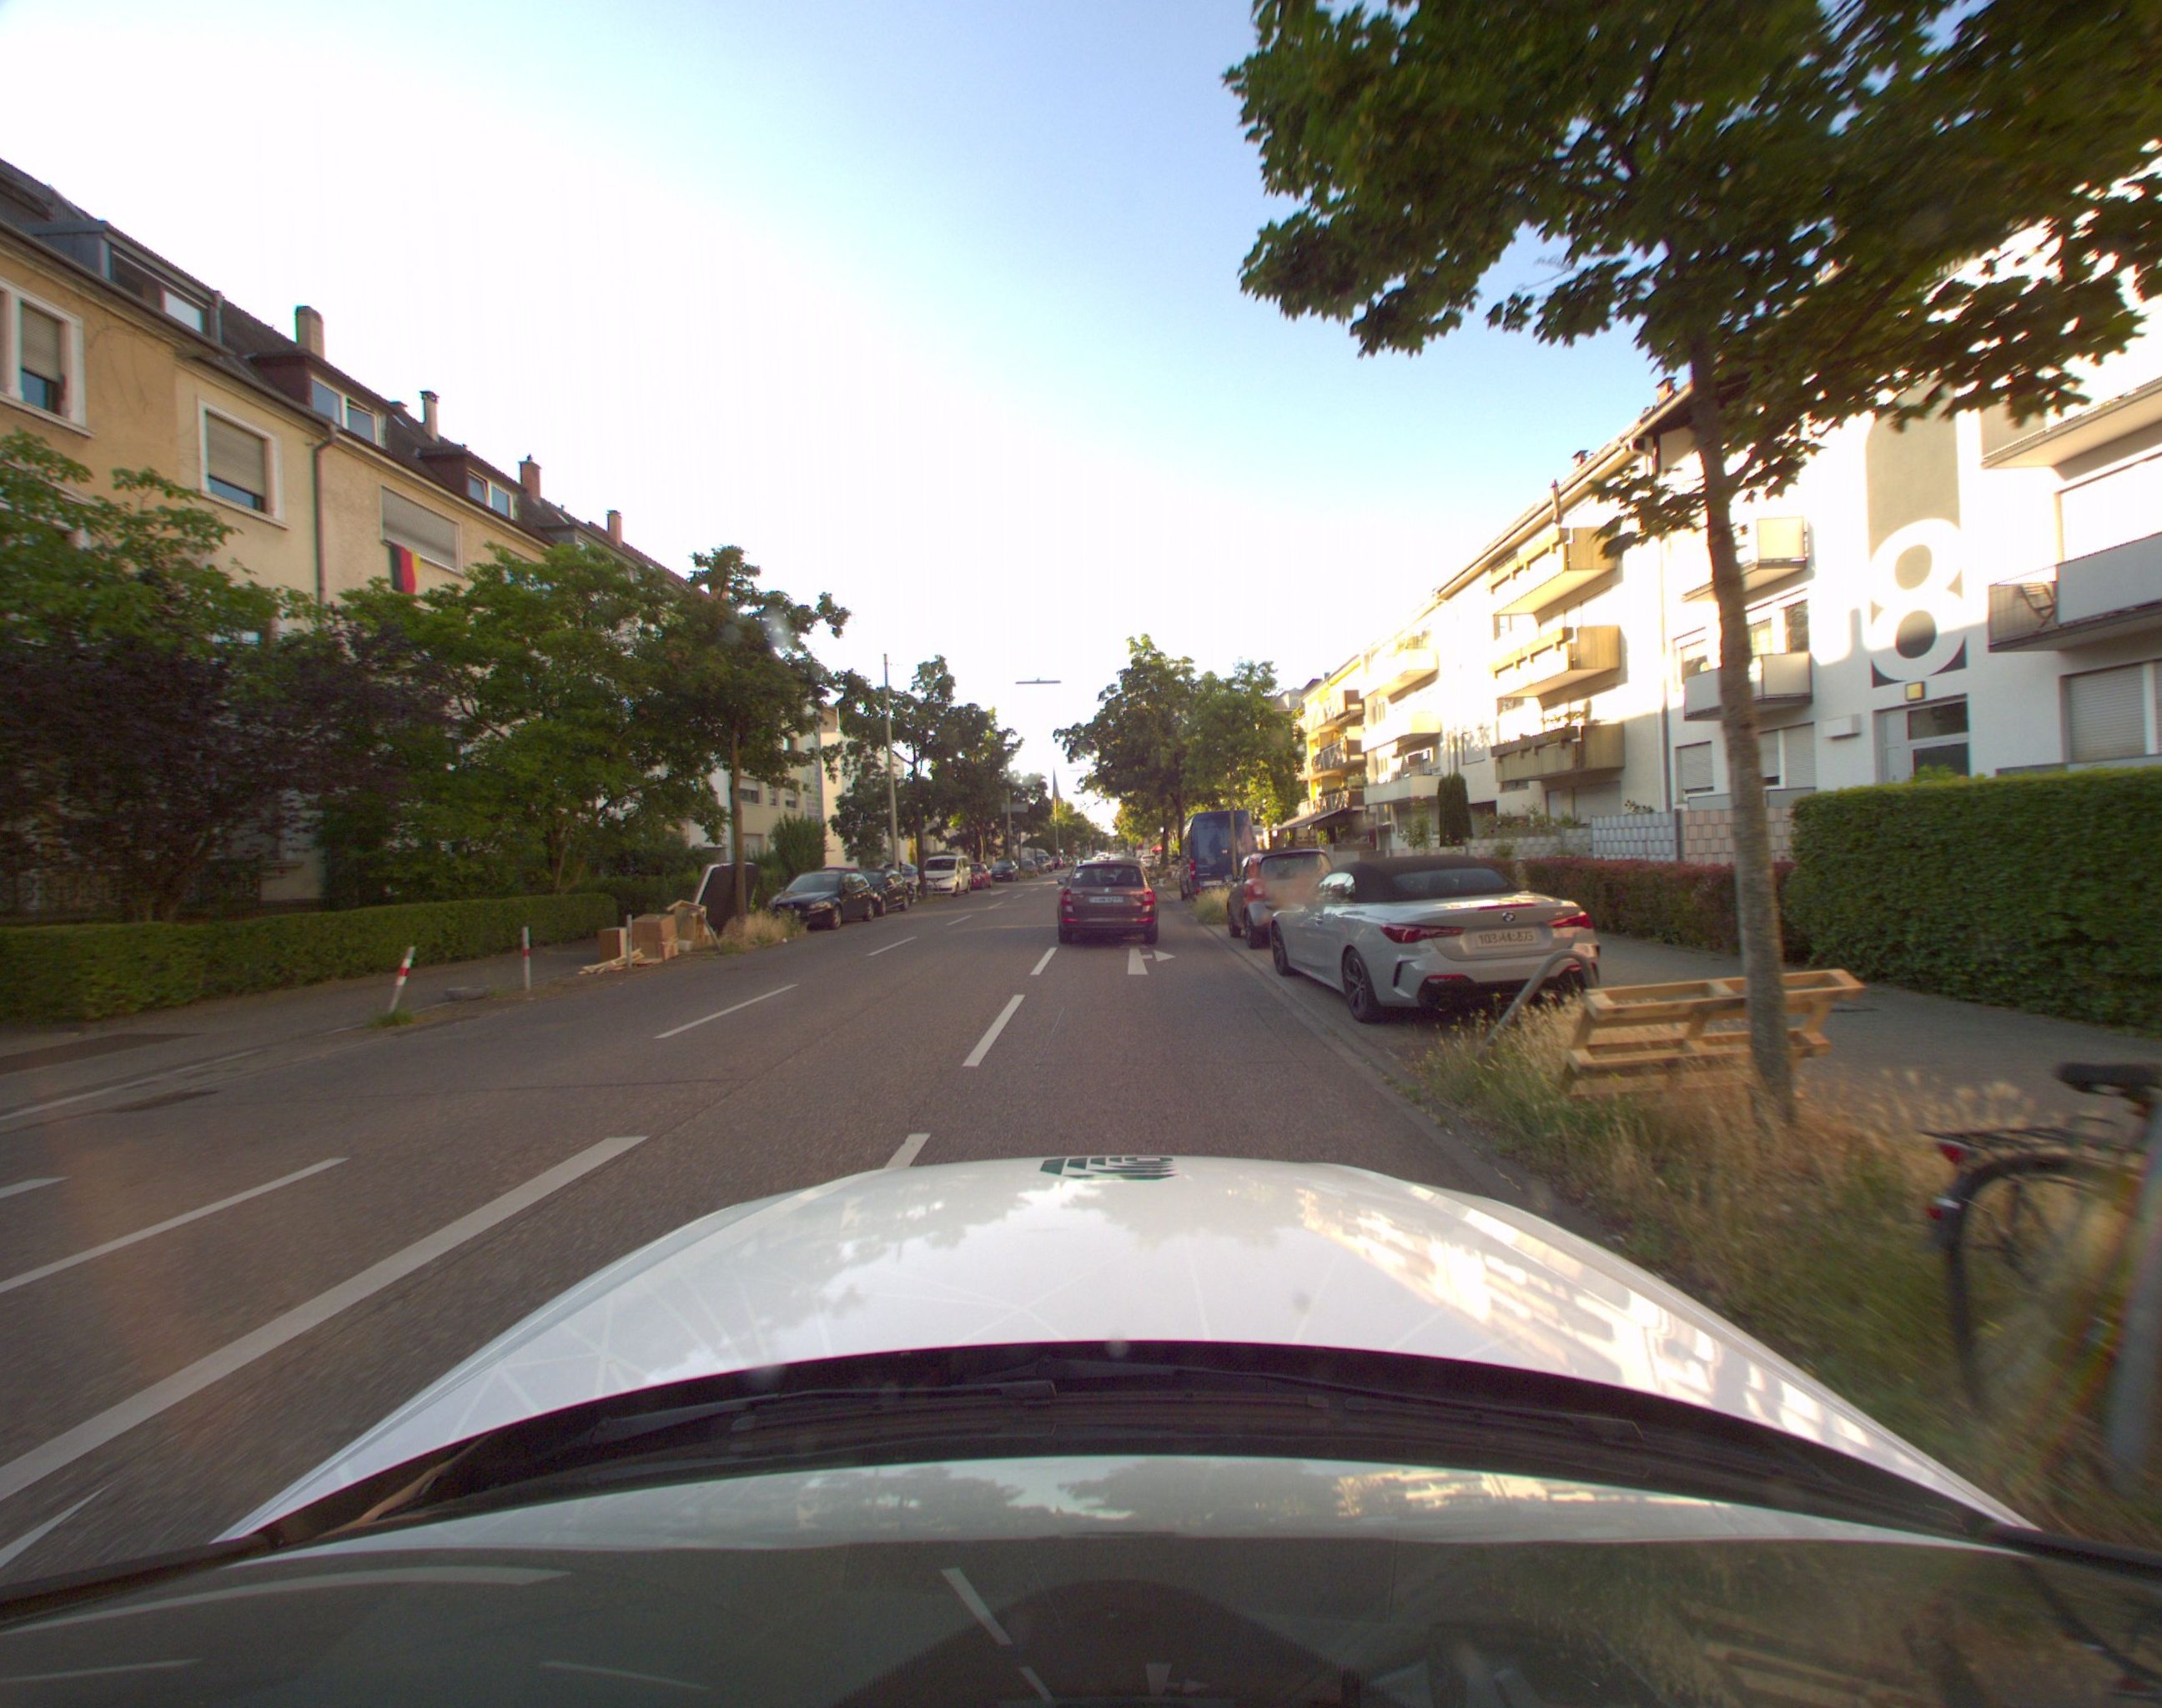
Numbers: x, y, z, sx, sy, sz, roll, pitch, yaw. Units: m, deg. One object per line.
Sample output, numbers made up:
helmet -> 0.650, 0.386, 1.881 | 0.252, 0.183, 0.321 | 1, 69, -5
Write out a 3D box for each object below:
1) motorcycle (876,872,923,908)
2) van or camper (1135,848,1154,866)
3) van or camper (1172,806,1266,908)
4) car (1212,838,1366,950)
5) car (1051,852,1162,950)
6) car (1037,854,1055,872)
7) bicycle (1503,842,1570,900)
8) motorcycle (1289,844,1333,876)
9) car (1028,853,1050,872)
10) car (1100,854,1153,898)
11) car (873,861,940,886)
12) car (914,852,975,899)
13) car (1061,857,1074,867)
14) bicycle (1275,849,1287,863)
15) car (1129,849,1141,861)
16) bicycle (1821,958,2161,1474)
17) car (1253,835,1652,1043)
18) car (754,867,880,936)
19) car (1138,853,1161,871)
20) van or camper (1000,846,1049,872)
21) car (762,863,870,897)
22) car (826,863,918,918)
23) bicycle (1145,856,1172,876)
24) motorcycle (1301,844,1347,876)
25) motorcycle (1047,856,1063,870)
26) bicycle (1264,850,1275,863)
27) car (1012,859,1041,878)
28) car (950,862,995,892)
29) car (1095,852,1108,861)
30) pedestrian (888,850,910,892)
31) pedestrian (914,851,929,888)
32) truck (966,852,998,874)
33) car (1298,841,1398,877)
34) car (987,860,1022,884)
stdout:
motorcycle -> -6.645, 1.304, 29.893 | 0.436, 1.192, 1.718 | -2, 0, 40
van or camper -> 7.396, 0.344, 94.535 | 1.985, 2.013, 4.003 | -2, 0, 3
van or camper -> 4.071, 0.096, 25.013 | 2.059, 2.675, 5.994 | -2, -1, 3
car -> 3.488, 0.626, 14.375 | 1.766, 1.642, 3.757 | -2, -1, 1
car -> 0.543, 0.748, 15.076 | 1.722, 1.493, 3.955 | -2, 0, 4
car -> -3.678, 0.954, 85.605 | 1.501, 1.757, 3.696 | -2, 0, 2
bicycle -> 9.098, 0.321, 16.309 | 0.490, 1.089, 1.545 | -2, 0, 2
motorcycle -> 12.550, 0.332, 44.448 | 2.181, 1.621, 0.733 | -2, 0, 8
car -> -4.177, 0.811, 80.951 | 1.743, 1.740, 3.593 | -2, 0, 3
car -> 1.688, 0.791, 31.486 | 1.724, 1.493, 3.949 | -2, 0, -1
car -> -11.451, 1.271, 53.578 | 3.976, 1.479, 1.999 | -1, 0, -2
car -> -6.178, 0.913, 37.300 | 1.762, 1.919, 4.463 | -2, 0, 3
car -> -2.054, 1.156, 122.654 | 1.658, 1.432, 3.277 | -2, 0, 2
bicycle -> 14.579, 0.134, 59.393 | 0.341, 0.950, 1.580 | -4, 0, -3
car -> 8.587, 0.096, 130.329 | 1.723, 1.815, 3.952 | -2, 0, 1
bicycle -> 2.855, 0.874, 2.222 | 1.477, 1.059, 0.410 | -2, 0, -11
car -> 3.311, 0.624, 8.512 | 1.914, 1.486, 4.744 | -2, 0, -1
car -> -6.867, 1.175, 21.656 | 1.743, 1.502, 4.200 | -2, 0, 3
car -> 5.919, 0.646, 70.468 | 1.812, 1.413, 4.116 | -2, 0, 5
van or camper -> -9.194, 0.821, 132.388 | 7.614, 3.874, 2.000 | -2, 0, 0
car -> -12.755, 1.255, 39.520 | 4.712, 1.362, 1.993 | -2, 0, -11
car -> -6.714, 1.134, 26.602 | 1.743, 1.502, 3.981 | -2, 0, 3
bicycle -> 5.207, 0.794, 54.902 | 1.658, 1.226, 0.638 | -5, 0, 15
motorcycle -> 12.975, 0.297, 43.573 | 2.181, 1.621, 0.892 | -2, 0, 8
motorcycle -> -3.089, 1.080, 95.872 | 0.771, 1.512, 2.006 | -2, 0, -40
bicycle -> 13.870, 0.160, 60.009 | 0.341, 0.950, 1.580 | 0, 0, -3
car -> -4.488, 1.159, 67.760 | 1.747, 1.420, 4.429 | -2, 0, 3
car -> -5.843, 1.197, 44.350 | 1.710, 1.421, 3.789 | -2, 0, 3
car -> 4.220, 0.532, 167.019 | 1.865, 1.757, 4.189 | -2, 0, 9
pedestrian -> -8.877, 0.828, 39.753 | 0.764, 2.013, 0.976 | -2, 0, 2
pedestrian -> -8.737, 0.836, 44.667 | 0.624, 2.013, 0.616 | -2, 0, 2
truck -> -10.059, 0.897, 82.609 | 2.902, 2.093, 1.547 | -2, 0, 2
car -> 12.288, 0.217, 37.602 | 3.975, 1.462, 1.824 | -2, 0, -1
car -> -5.251, 1.204, 56.429 | 1.710, 1.497, 4.251 | -2, 0, 3
